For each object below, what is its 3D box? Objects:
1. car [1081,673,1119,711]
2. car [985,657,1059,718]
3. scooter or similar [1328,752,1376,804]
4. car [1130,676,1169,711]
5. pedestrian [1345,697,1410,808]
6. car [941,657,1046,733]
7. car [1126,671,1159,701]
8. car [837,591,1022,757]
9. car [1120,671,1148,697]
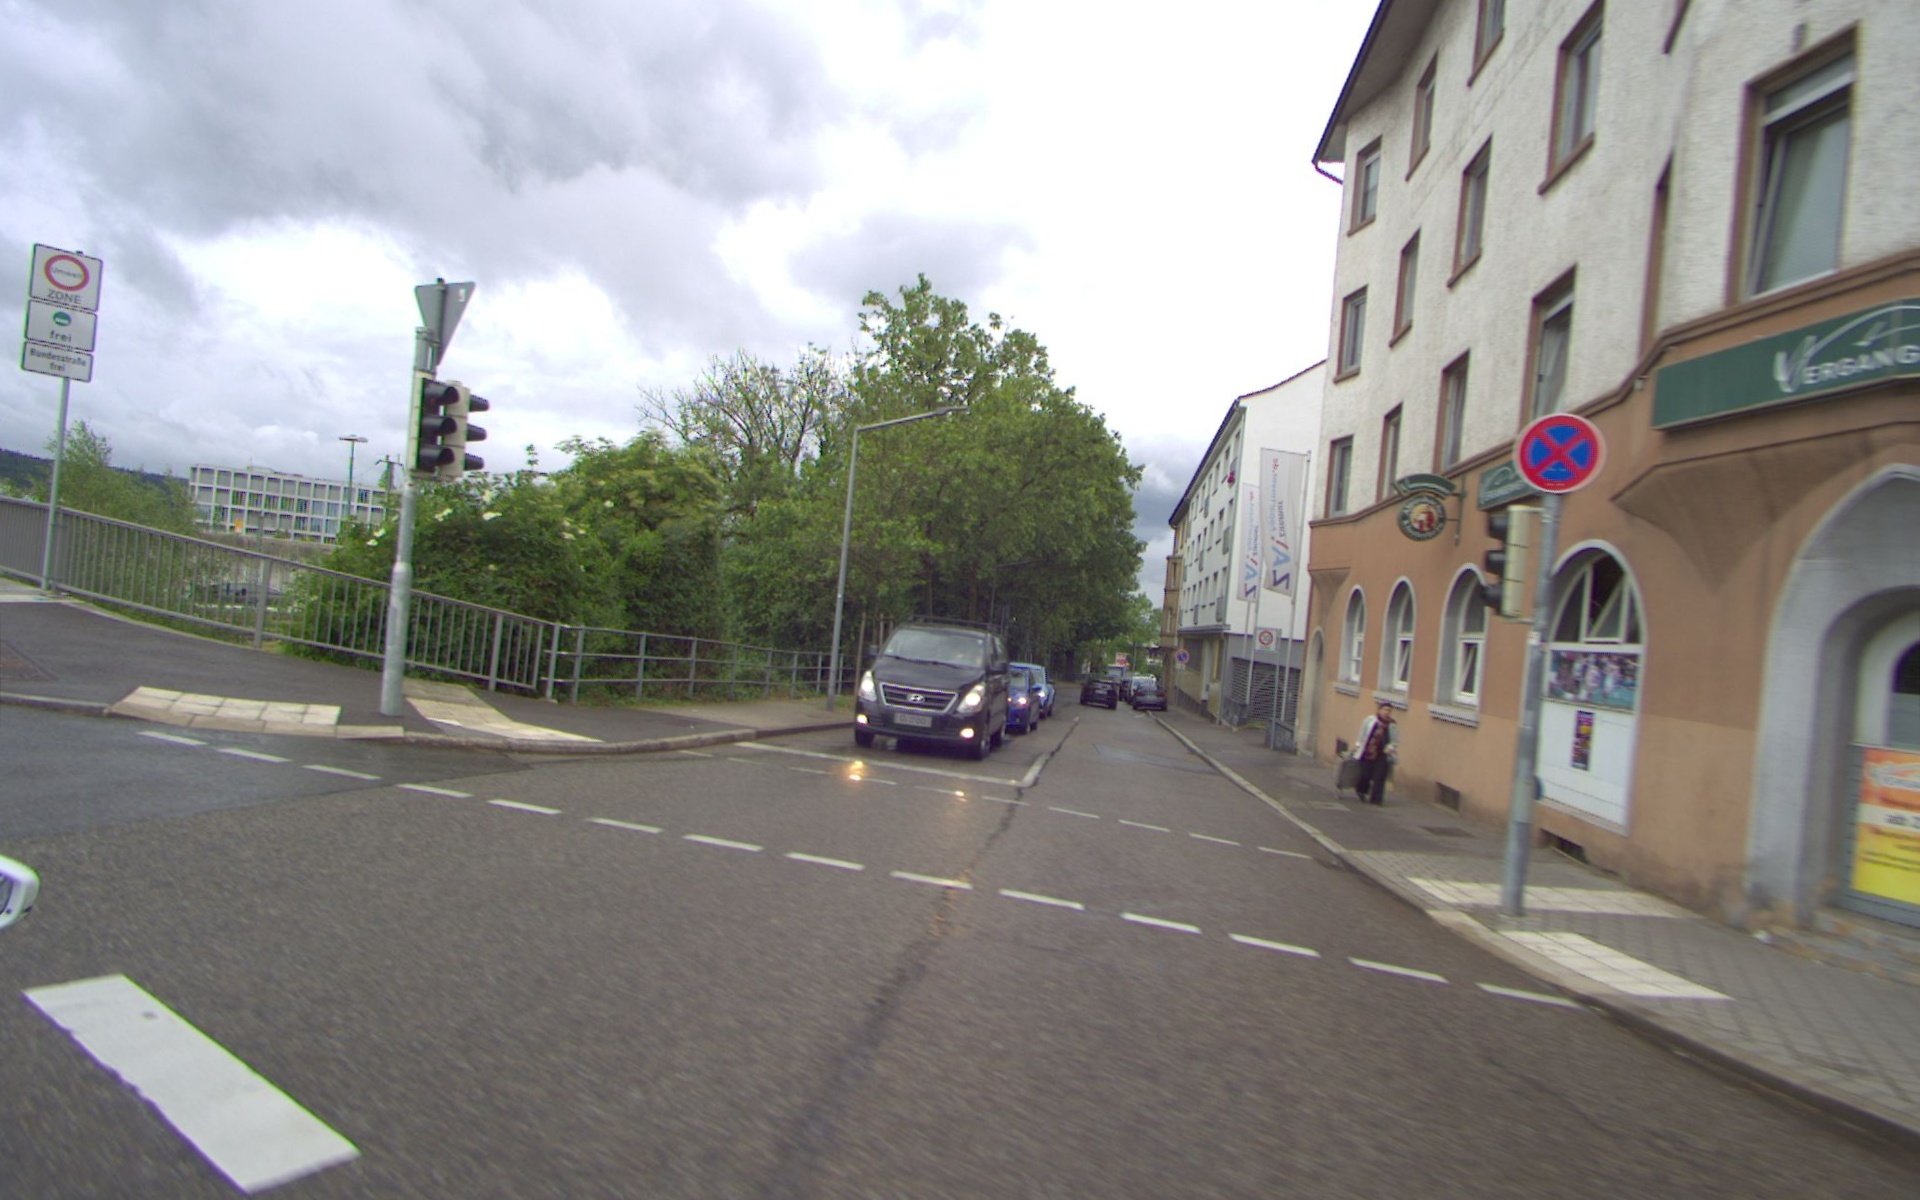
[{"bbox_3d":[7.117,4.679,51.503,1.725,1.593,4.003,5,-1,7],"label":"car"},{"bbox_3d":[2.031,2.741,31.757,1.868,1.629,4.350,5,-4,8],"label":"car"},{"bbox_3d":[5.892,2.668,15.142,0.539,0.675,0.508,5,-4,10],"label":"scooter or similar"},{"bbox_3d":[10.507,5.167,55.884,1.725,1.593,4.003,5,-1,7],"label":"car"},{"bbox_3d":[6.024,2.186,14.548,0.617,1.473,0.701,5,0,10],"label":"pedestrian"},{"bbox_3d":[0.888,2.181,23.554,1.868,1.450,4.350,5,-4,8],"label":"car"},{"bbox_3d":[11.875,5.596,65.555,1.725,1.593,4.003,5,-1,7],"label":"car"},{"bbox_3d":[-0.281,1.192,16.047,1.962,2.035,4.768,6,-4,9],"label":"car"},{"bbox_3d":[12.829,6.153,74.373,1.725,1.593,4.003,5,-1,7],"label":"car"}]
